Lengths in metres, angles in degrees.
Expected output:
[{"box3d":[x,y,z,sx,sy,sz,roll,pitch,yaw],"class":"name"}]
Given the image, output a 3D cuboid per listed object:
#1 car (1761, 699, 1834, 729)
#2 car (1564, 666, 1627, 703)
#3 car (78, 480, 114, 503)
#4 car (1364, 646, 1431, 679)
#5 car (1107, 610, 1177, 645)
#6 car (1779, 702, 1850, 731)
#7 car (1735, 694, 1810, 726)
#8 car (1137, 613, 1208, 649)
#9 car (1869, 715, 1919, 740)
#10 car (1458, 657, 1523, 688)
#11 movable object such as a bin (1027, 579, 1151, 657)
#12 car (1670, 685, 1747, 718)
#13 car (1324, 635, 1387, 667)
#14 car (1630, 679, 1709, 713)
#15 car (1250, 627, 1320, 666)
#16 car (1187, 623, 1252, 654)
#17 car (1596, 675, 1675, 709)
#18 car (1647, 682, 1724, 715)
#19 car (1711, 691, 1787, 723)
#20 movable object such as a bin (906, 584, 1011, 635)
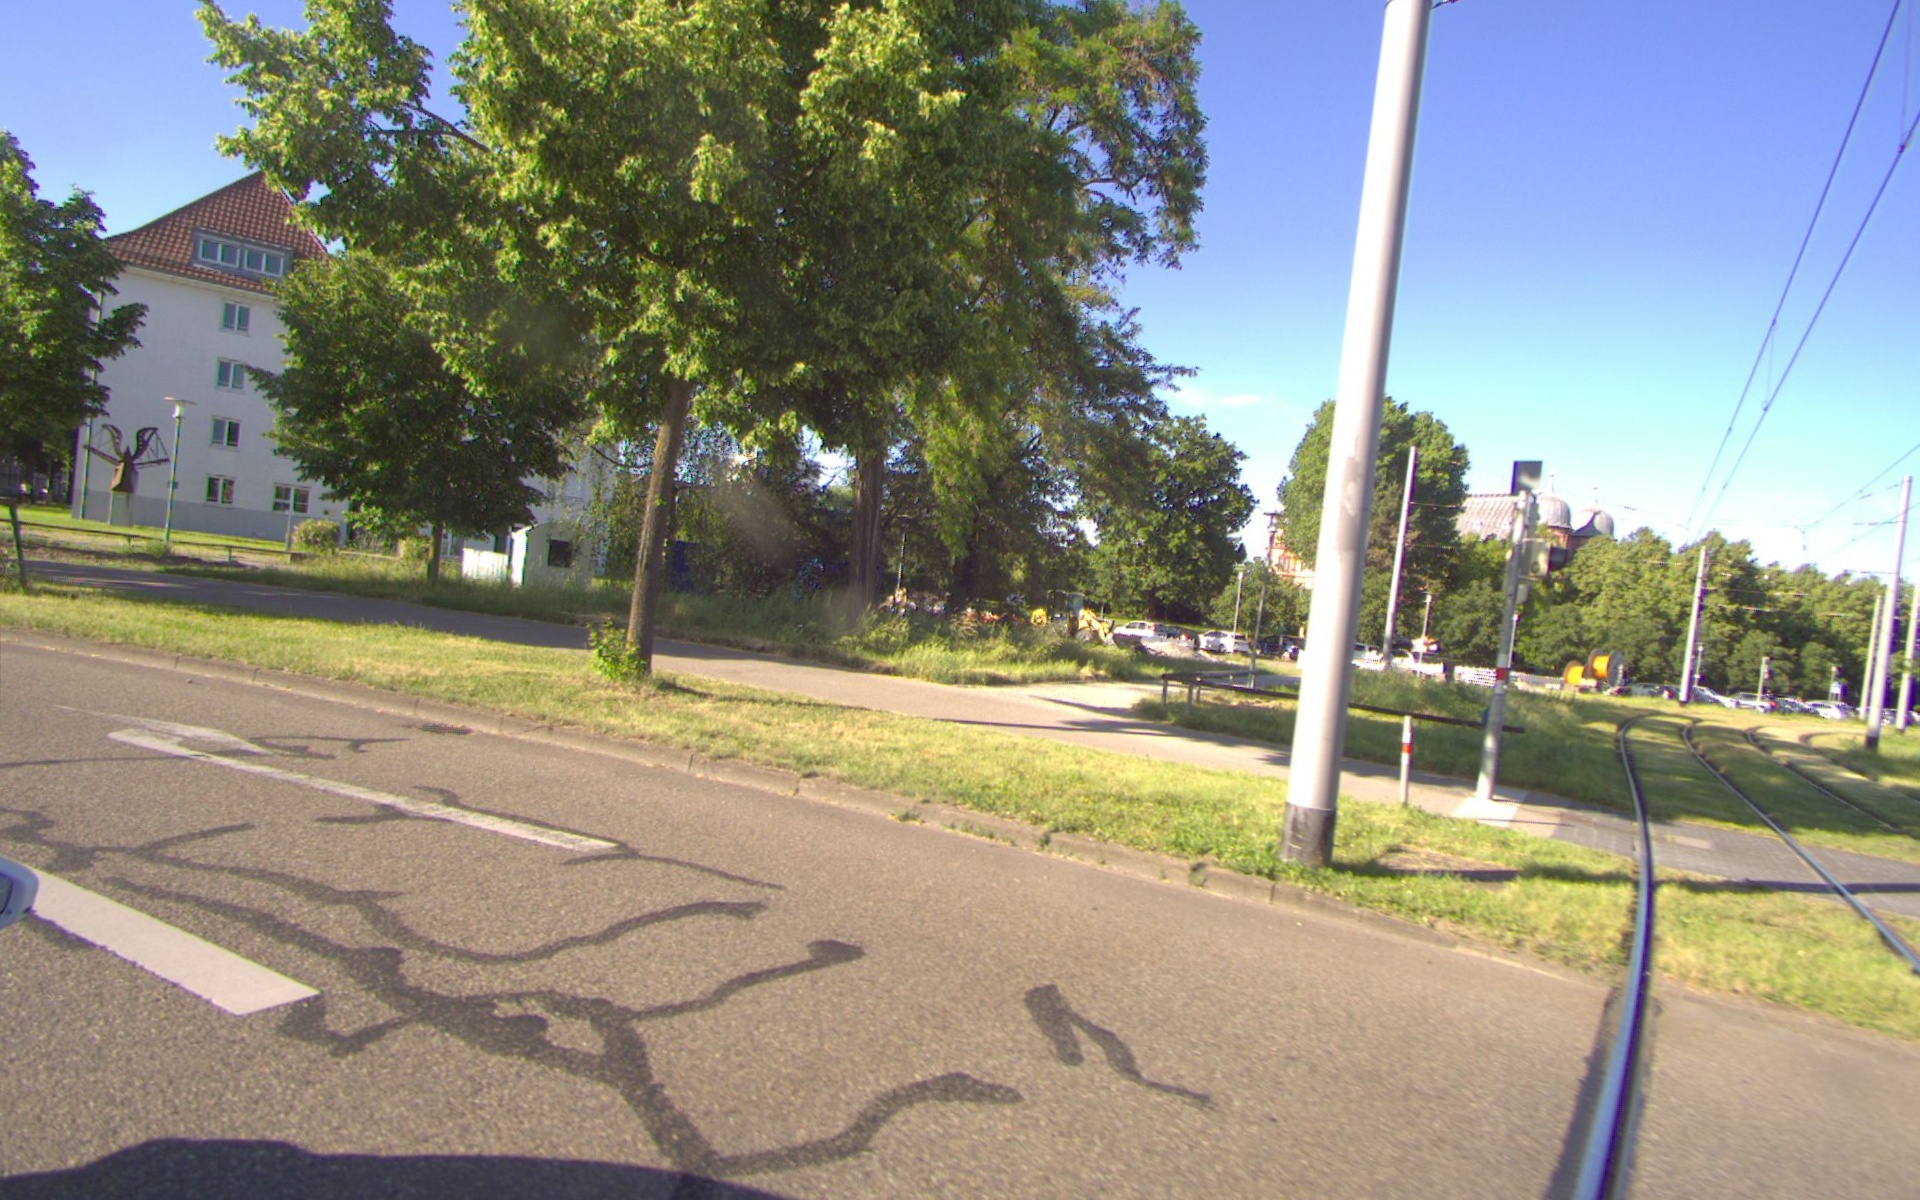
[{"box3d":[67.308,9.139,80.895,1.894,1.777,3.969,7,-1,-31],"class":"car"},{"box3d":[55.147,7.311,87.296,1.979,2.684,3.969,7,-1,-31],"class":"car"},{"box3d":[-94.629,-11.830,110.245,1.977,1.894,3.974,7,-1,-27],"class":"car"},{"box3d":[32.066,4.567,73.840,1.979,1.982,3.969,7,-1,-31],"class":"car"},{"box3d":[11.081,1.671,61.429,1.979,1.743,3.969,7,-1,-31],"class":"car"},{"box3d":[70.185,9.535,82.658,1.894,1.777,3.969,7,-1,-31],"class":"car"},{"box3d":[62.189,8.415,77.078,1.894,1.777,3.969,7,-1,-31],"class":"car"},{"box3d":[13.107,1.895,62.193,1.979,1.789,3.969,7,-1,-31],"class":"car"},{"box3d":[85.253,11.584,91.020,1.894,1.777,3.969,7,-1,-31],"class":"car"},{"box3d":[42.089,5.759,79.926,1.979,1.918,3.969,7,-1,-31],"class":"car"},{"box3d":[5.470,0.737,43.373,1.986,2.822,4.990,7,-1,-41],"class":"movable object such as a bin"},{"box3d":[54.008,7.306,72.665,1.894,1.777,3.969,7,-1,-31],"class":"car"},{"box3d":[27.904,3.587,71.066,1.674,1.800,3.822,7,-1,-27],"class":"car"},{"box3d":[49.611,6.714,70.399,1.894,1.777,3.969,7,-1,-31],"class":"car"},{"box3d":[21.605,3.092,66.978,1.979,2.124,3.969,7,-1,-31],"class":"car"},{"box3d":[16.554,2.417,64.249,1.813,1.574,3.780,7,-2,-29],"class":"car"},{"box3d":[46.280,6.274,69.000,1.979,1.777,3.969,7,-1,-31],"class":"car"},{"box3d":[51.692,7.002,71.740,1.894,1.777,3.969,7,-1,-31],"class":"car"},{"box3d":[59.729,8.095,76.208,1.894,1.777,3.969,7,-1,-31],"class":"car"},{"box3d":[-0.039,0.487,51.700,4.983,1.971,2.216,8,-2,-39],"class":"movable object such as a bin"}]
